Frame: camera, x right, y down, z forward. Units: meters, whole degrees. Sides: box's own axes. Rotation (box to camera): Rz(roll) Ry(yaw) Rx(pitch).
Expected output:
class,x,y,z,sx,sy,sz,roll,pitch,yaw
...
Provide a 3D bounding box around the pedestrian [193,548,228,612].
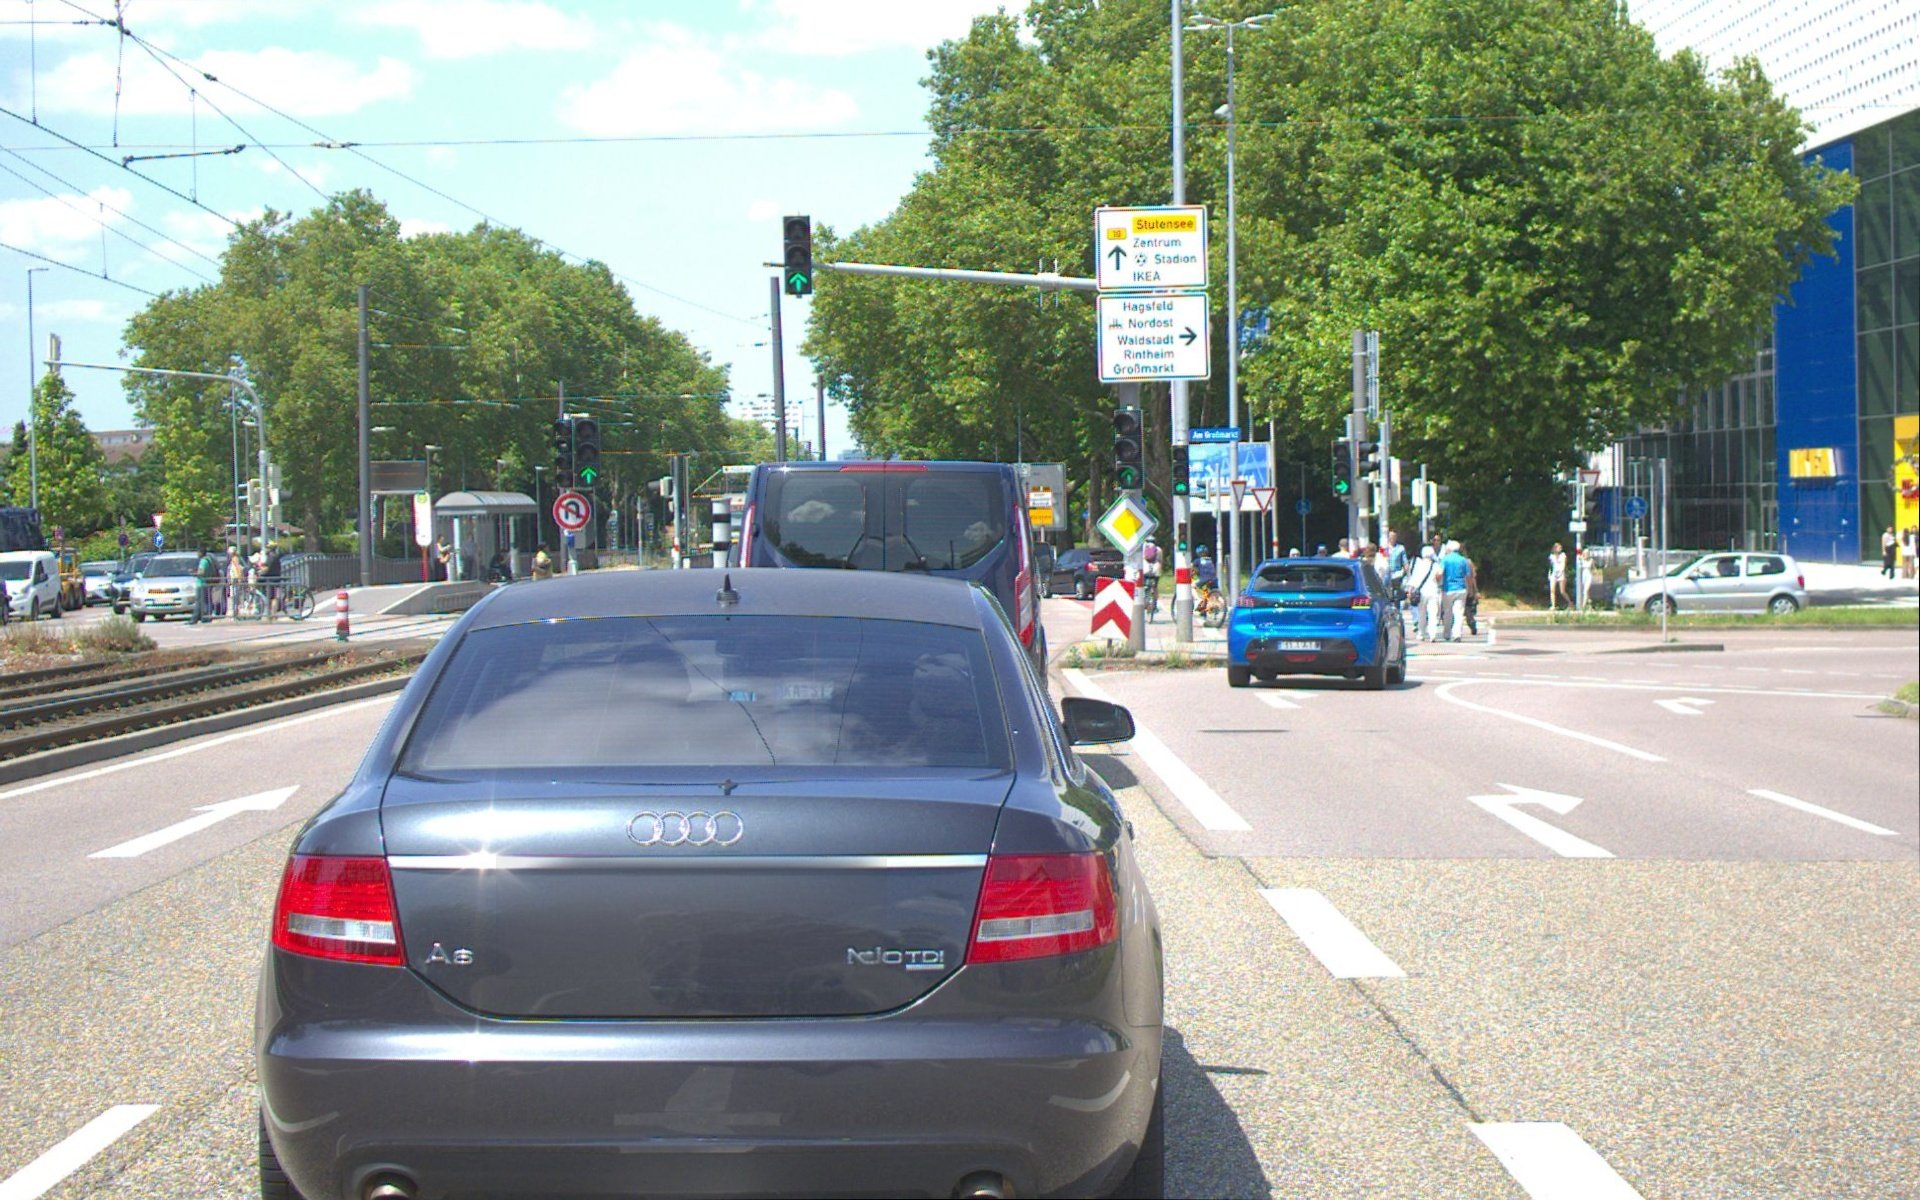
class,x,y,z,sx,sy,sz,roll,pitch,yaw
pedestrian,-16.823,-0.445,77.136,0.685,1.438,0.573,0,1,-4

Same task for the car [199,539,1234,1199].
class,x,y,z,sx,sy,sz,roll,pitch,yaw
car,-0.434,0.599,7.987,1.792,1.450,4.000,0,1,0

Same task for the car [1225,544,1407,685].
class,x,y,z,sx,sy,sz,roll,pitch,yaw
car,4.046,0.121,38.632,1.838,1.449,3.999,1,1,8

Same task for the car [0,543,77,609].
class,x,y,z,sx,sy,sz,roll,pitch,yaw
car,-25.043,-0.665,91.561,1.822,1.664,4.461,1,1,1

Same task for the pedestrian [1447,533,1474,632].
class,x,y,z,sx,sy,sz,roll,pitch,yaw
pedestrian,8.357,-0.294,57.395,0.398,1.629,0.371,0,1,3

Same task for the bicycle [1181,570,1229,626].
class,x,y,z,sx,sy,sz,roll,pitch,yaw
bicycle,4.597,-0.051,64.652,0.688,1.002,2.752,0,1,0

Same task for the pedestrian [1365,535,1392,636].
class,x,y,z,sx,sy,sz,roll,pitch,yaw
pedestrian,6.734,-0.234,55.333,0.381,1.629,0.377,0,1,3

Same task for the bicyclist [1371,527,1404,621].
class,x,y,z,sx,sy,sz,roll,pitch,yaw
bicyclist,8.127,-0.496,65.314,0.529,1.758,0.827,0,1,13

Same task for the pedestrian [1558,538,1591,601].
class,x,y,z,sx,sy,sz,roll,pitch,yaw
pedestrian,15.244,-0.757,85.226,0.705,1.539,0.677,1,1,19

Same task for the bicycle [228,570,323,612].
class,x,y,z,sx,sy,sz,roll,pitch,yaw
bicycle,-15.184,-0.205,76.292,2.055,0.922,0.753,0,1,-10

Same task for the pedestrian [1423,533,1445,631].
class,x,y,z,sx,sy,sz,roll,pitch,yaw
pedestrian,7.913,-0.300,57.409,0.320,1.629,0.377,0,1,3

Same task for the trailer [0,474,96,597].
class,x,y,z,sx,sy,sz,roll,pitch,yaw
trailer,-28.698,-1.889,101.067,2.767,3.506,15.879,0,1,-1

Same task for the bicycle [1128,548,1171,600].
class,x,y,z,sx,sy,sz,roll,pitch,yaw
bicycle,3.771,-0.527,68.475,0.688,0.990,2.752,0,1,0

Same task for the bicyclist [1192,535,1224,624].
class,x,y,z,sx,sy,sz,roll,pitch,yaw
bicyclist,4.671,-0.392,64.807,0.528,1.670,1.088,0,1,0

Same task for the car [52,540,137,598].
class,x,y,z,sx,sy,sz,roll,pitch,yaw
car,-28.426,-1.027,113.024,1.817,1.876,4.000,0,1,-1

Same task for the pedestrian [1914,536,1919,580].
class,x,y,z,sx,sy,sz,roll,pitch,yaw
pedestrian,29.209,-1.283,104.596,0.288,1.338,0.266,0,1,0

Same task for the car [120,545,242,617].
class,x,y,z,sx,sy,sz,roll,pitch,yaw
car,-19.131,-0.497,84.588,1.822,1.664,4.461,1,1,2

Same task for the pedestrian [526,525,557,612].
class,x,y,z,sx,sy,sz,roll,pitch,yaw
pedestrian,-9.637,-0.725,79.187,0.685,2.007,0.573,0,1,-4

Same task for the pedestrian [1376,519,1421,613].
class,x,y,z,sx,sy,sz,roll,pitch,yaw
pedestrian,8.720,-0.682,68.396,0.685,1.840,0.706,1,1,25

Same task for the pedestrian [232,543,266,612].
class,x,y,z,sx,sy,sz,roll,pitch,yaw
pedestrian,-16.183,-0.510,78.246,0.685,1.559,0.573,0,1,-4

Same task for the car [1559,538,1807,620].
class,x,y,z,sx,sy,sz,roll,pitch,yaw
car,14.255,-0.437,67.982,4.498,1.481,2.000,1,1,3

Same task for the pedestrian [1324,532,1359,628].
class,x,y,z,sx,sy,sz,roll,pitch,yaw
pedestrian,6.484,-0.346,58.385,0.554,1.629,0.433,0,1,3

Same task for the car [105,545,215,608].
class,x,y,z,sx,sy,sz,roll,pitch,yaw
car,-22.114,-0.678,95.206,1.822,1.664,4.461,1,1,2

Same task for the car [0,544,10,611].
class,x,y,z,sx,sy,sz,roll,pitch,yaw
car,-24.872,-0.546,84.532,1.822,1.664,4.461,1,1,0

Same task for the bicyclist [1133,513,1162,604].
class,x,y,z,sx,sy,sz,roll,pitch,yaw
bicyclist,3.703,-0.814,67.977,0.528,1.783,1.088,0,1,0

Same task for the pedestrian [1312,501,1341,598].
class,x,y,z,sx,sy,sz,roll,pitch,yaw
pedestrian,6.240,-0.859,58.505,0.445,1.629,0.430,0,1,3

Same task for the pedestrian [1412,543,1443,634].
class,x,y,z,sx,sy,sz,roll,pitch,yaw
pedestrian,8.395,-0.205,61.795,0.504,1.629,0.449,0,1,3

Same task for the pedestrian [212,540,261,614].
class,x,y,z,sx,sy,sz,roll,pitch,yaw
pedestrian,-16.848,-0.534,80.014,0.824,1.714,0.774,1,1,22

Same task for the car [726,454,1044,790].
class,x,y,z,sx,sy,sz,roll,pitch,yaw
car,-0.460,0.100,21.888,1.836,1.943,4.000,0,1,-1

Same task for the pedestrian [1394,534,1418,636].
class,x,y,z,sx,sy,sz,roll,pitch,yaw
pedestrian,7.164,-0.249,55.280,0.339,1.629,0.377,0,1,3

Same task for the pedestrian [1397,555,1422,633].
class,x,y,z,sx,sy,sz,roll,pitch,yaw
pedestrian,7.522,-0.104,57.478,0.372,1.299,0.365,0,1,3

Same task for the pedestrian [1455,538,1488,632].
class,x,y,z,sx,sy,sz,roll,pitch,yaw
pedestrian,9.192,-0.274,61.742,0.521,1.664,0.494,0,1,3

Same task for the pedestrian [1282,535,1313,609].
class,x,y,z,sx,sy,sz,roll,pitch,yaw
pedestrian,6.909,-0.574,70.433,0.494,1.514,0.706,1,1,17
